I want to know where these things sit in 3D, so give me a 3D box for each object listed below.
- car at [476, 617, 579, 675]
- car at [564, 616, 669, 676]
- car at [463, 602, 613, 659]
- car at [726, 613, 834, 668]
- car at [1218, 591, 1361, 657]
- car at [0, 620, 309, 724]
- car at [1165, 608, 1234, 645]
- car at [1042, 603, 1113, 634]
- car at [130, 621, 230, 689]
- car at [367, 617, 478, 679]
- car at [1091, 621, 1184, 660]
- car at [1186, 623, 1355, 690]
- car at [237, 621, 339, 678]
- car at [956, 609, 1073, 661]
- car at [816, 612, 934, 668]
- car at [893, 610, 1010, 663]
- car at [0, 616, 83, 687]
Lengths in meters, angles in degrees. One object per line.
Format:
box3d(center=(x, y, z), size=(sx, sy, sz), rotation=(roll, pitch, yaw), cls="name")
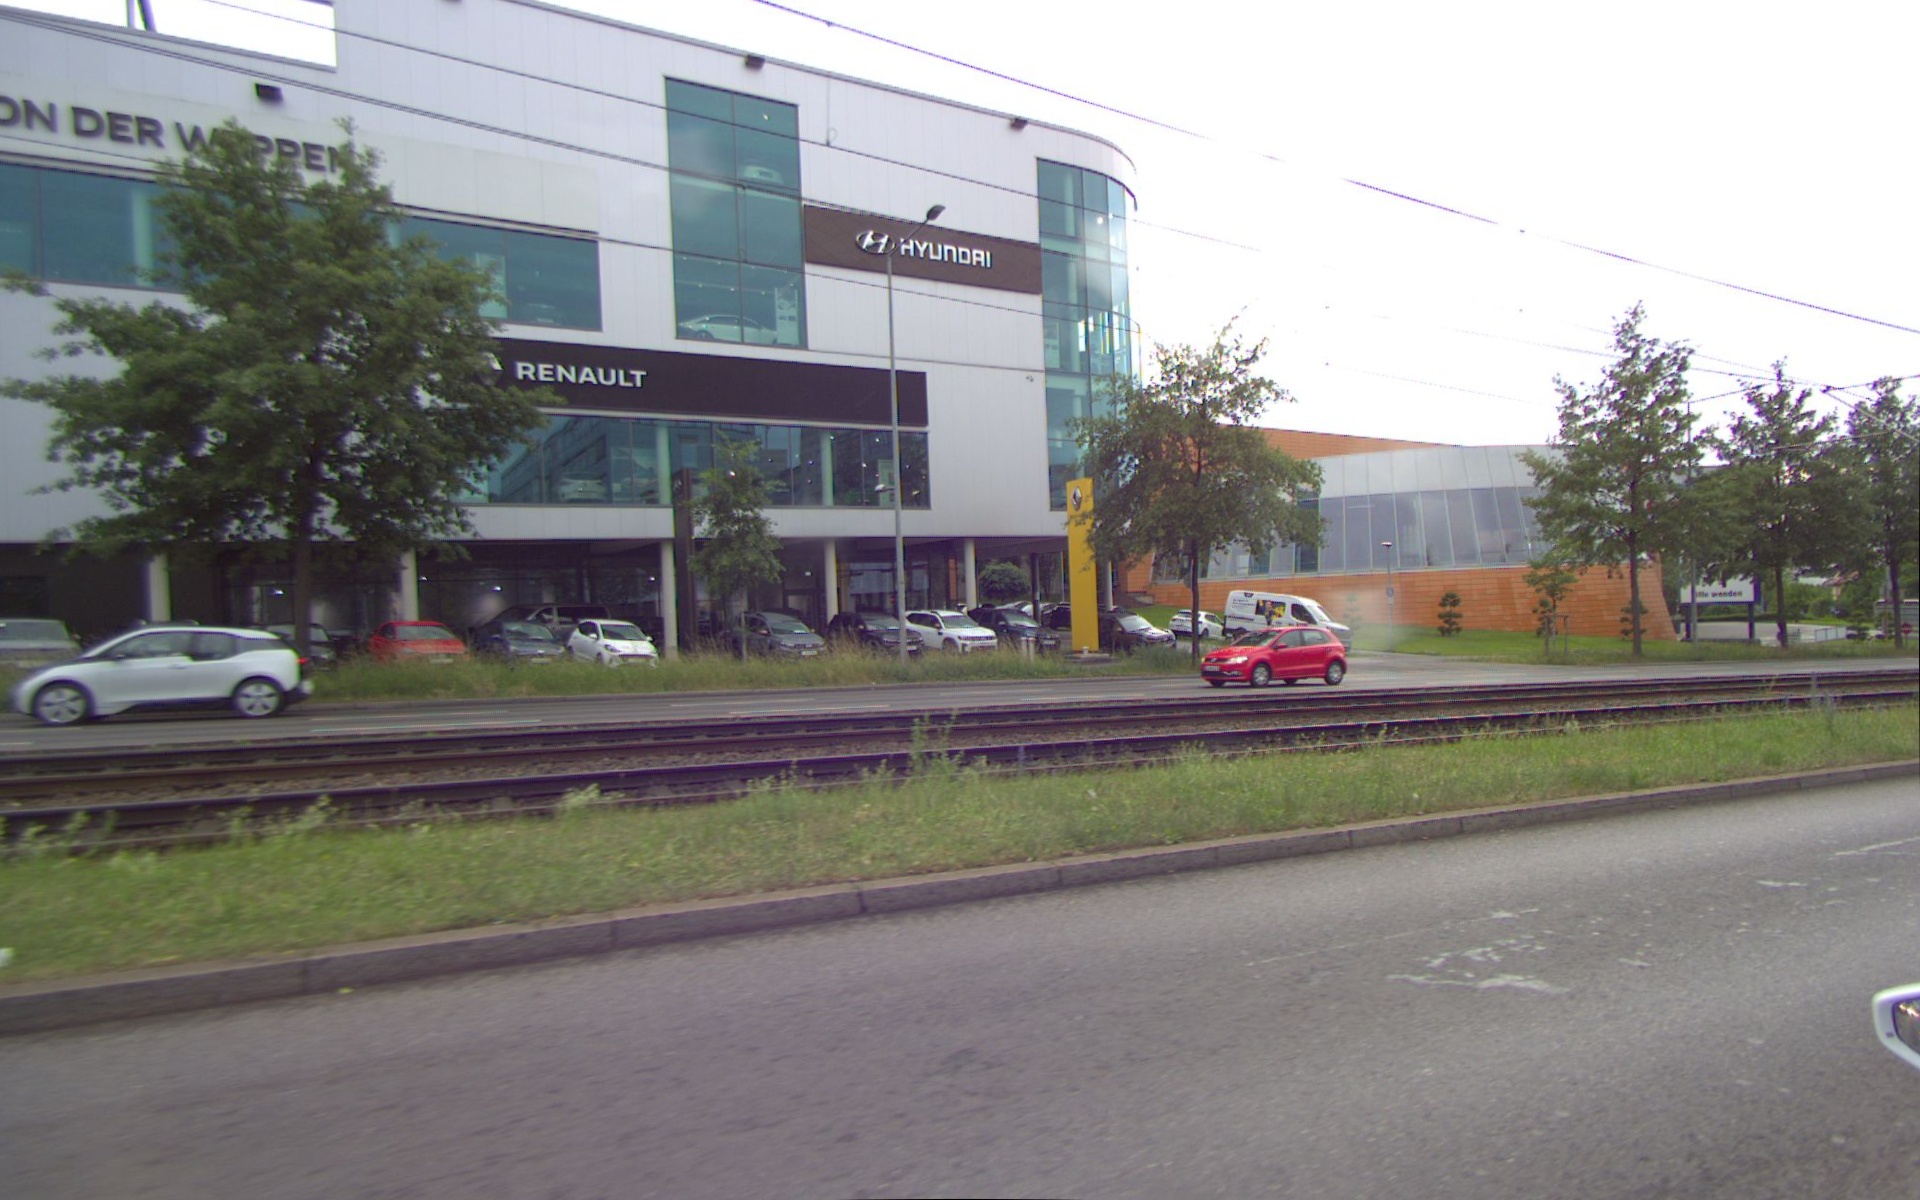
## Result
box3d(center=(-12.701, 1.276, 29.361), size=(1.903, 1.370, 4.004), rotation=(1, 2, -36), cls="car")
box3d(center=(-10.459, 1.336, 30.455), size=(1.903, 1.479, 4.004), rotation=(1, 2, -36), cls="car")
box3d(center=(-14.315, 1.000, 34.362), size=(1.963, 1.806, 4.541), rotation=(0, -1, 27), cls="car")
box3d(center=(-5.926, 1.264, 32.802), size=(1.914, 1.479, 3.980), rotation=(1, 2, -36), cls="car")
box3d(center=(14.631, 1.008, 44.813), size=(2.389, 2.616, 5.551), rotation=(1, 2, -43), cls="car")
box3d(center=(-13.609, 1.175, 17.163), size=(4.050, 1.601, 1.677), rotation=(1, -3, -30), cls="car")
box3d(center=(11.655, 1.262, 48.764), size=(1.705, 1.688, 3.730), rotation=(1, 0, 41), cls="car")
box3d(center=(6.584, 1.013, 56.040), size=(1.972, 1.653, 3.977), rotation=(0, -1, 43), cls="car")
box3d(center=(-19.484, 1.306, 25.042), size=(1.687, 1.370, 3.481), rotation=(0, 2, -43), cls="car")
box3d(center=(-14.886, 1.263, 27.731), size=(1.787, 1.370, 3.884), rotation=(0, 2, -43), cls="car")
box3d(center=(6.811, 1.527, 38.855), size=(1.563, 1.409, 3.624), rotation=(0, 0, -32), cls="car")
box3d(center=(7.660, 1.347, 24.693), size=(4.051, 1.532, 1.578), rotation=(1, -3, -28), cls="car")
box3d(center=(-17.499, 1.229, 26.112), size=(1.687, 1.197, 3.481), rotation=(1, 2, -43), cls="car")
box3d(center=(1.947, 1.243, 37.086), size=(1.981, 1.637, 4.330), rotation=(1, 2, -36), cls="car")
box3d(center=(-2.939, 1.296, 33.932), size=(1.981, 1.571, 4.330), rotation=(1, 2, -36), cls="car")
box3d(center=(-0.369, 1.252, 35.620), size=(1.981, 1.571, 4.330), rotation=(1, 2, -36), cls="car")
box3d(center=(-22.087, 1.164, 23.750), size=(3.476, 1.370, 1.689), rotation=(3, 2, 43), cls="car")
